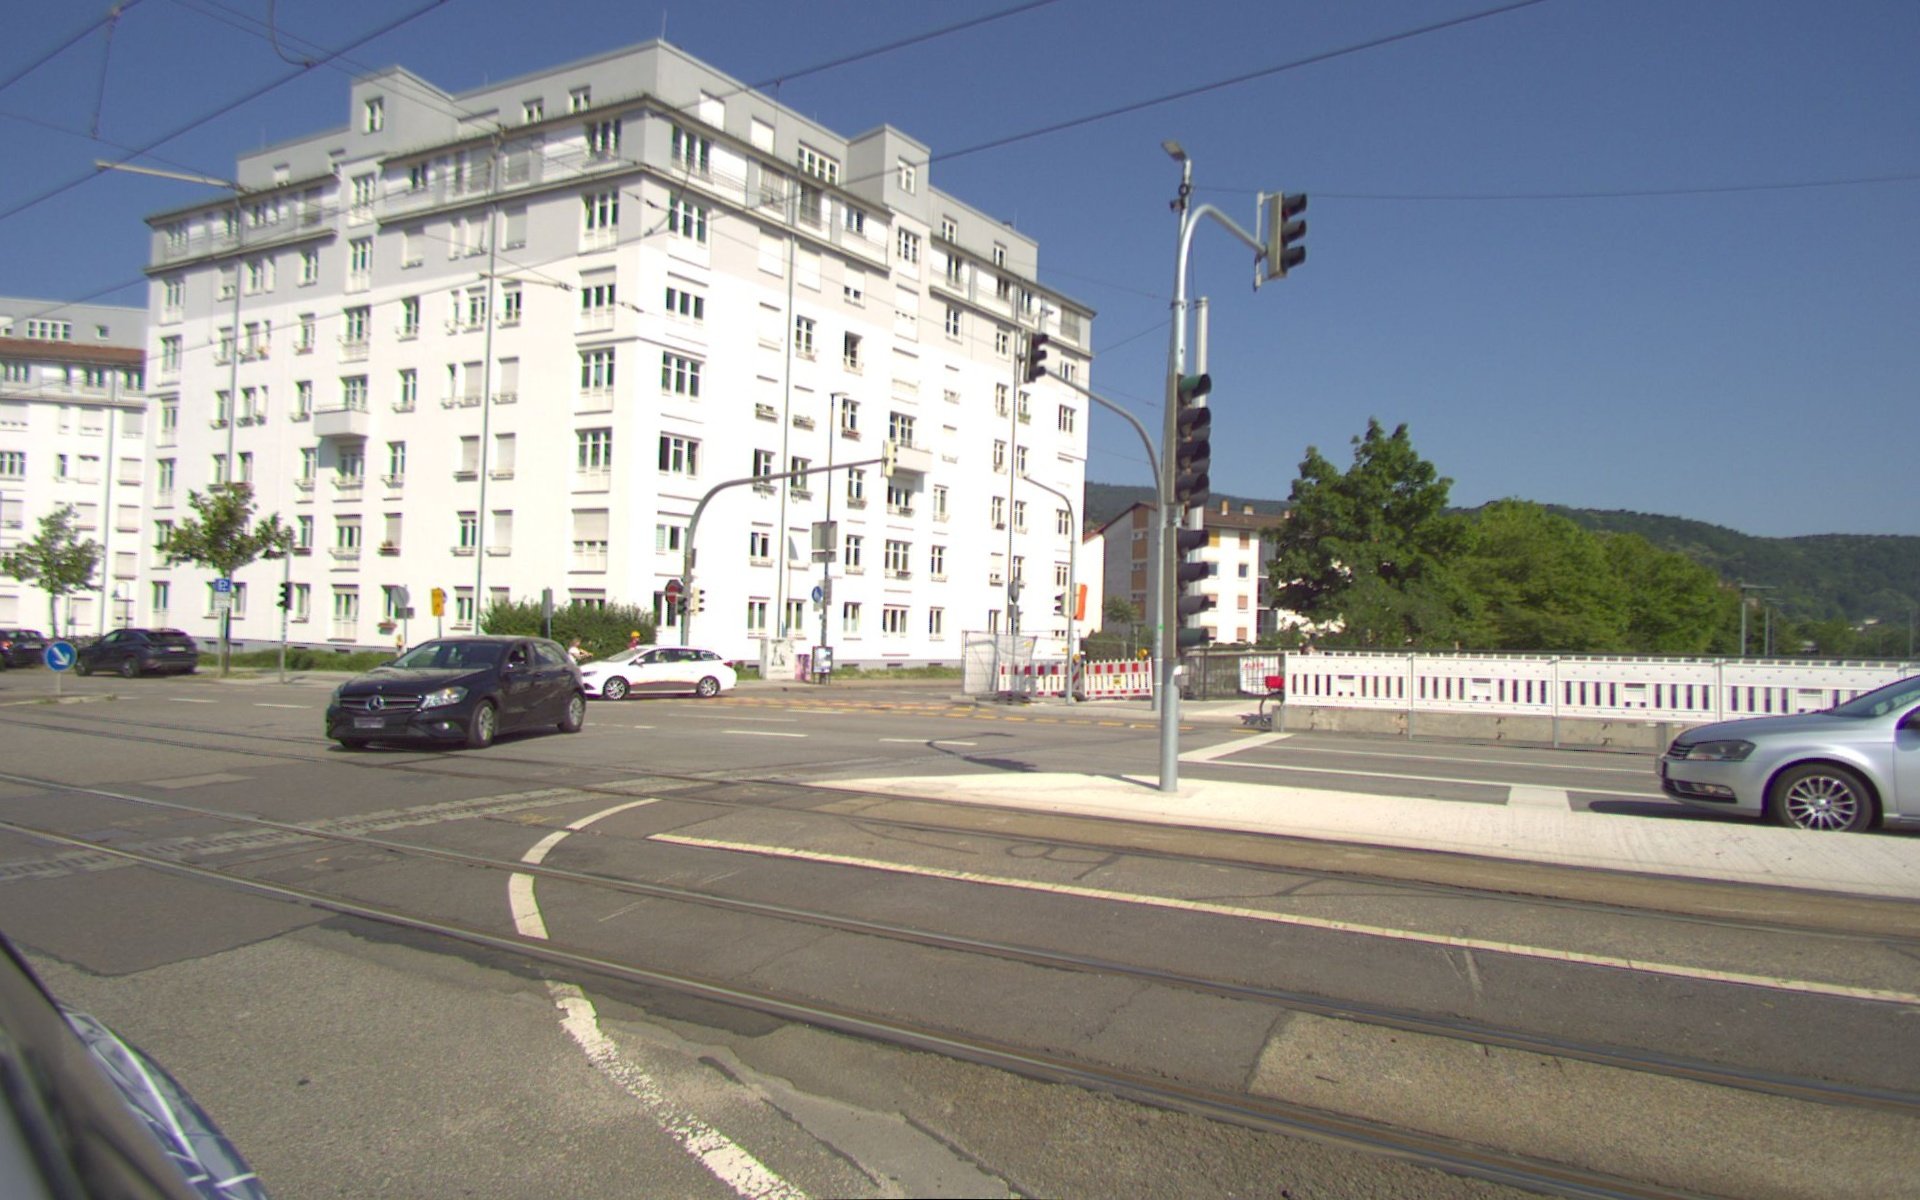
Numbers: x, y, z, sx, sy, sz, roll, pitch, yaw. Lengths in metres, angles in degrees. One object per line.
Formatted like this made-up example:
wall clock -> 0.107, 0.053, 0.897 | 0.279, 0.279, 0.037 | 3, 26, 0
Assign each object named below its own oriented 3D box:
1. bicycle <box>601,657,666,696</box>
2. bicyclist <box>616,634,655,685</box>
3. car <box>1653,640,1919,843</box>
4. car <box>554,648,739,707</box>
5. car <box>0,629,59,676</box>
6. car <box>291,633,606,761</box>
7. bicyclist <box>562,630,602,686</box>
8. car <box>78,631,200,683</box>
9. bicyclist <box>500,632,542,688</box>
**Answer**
bicycle -> -9.799, 2.279, 30.382 | 1.797, 1.108, 0.602 | 0, -2, 14
bicyclist -> -9.737, 1.773, 30.360 | 0.909, 1.489, 0.595 | 0, -2, 14
car -> 8.109, 1.083, 7.607 | 4.624, 1.448, 1.626 | -1, -4, 30
car -> -8.325, 2.027, 27.108 | 4.416, 1.423, 1.704 | 3, -3, -41
car -> -35.479, 1.923, 37.445 | 3.716, 1.650, 1.727 | 0, -2, 23
car -> -6.564, 1.241, 13.692 | 1.681, 1.419, 4.617 | 0, -4, 3
bicyclist -> -11.102, 1.692, 29.732 | 0.909, 1.591, 0.621 | 0, -1, 15
car -> -27.622, 1.879, 34.055 | 3.718, 1.650, 1.726 | 0, -2, 25
bicyclist -> -12.762, 1.732, 29.411 | 0.911, 1.602, 0.620 | 1, -2, 19
